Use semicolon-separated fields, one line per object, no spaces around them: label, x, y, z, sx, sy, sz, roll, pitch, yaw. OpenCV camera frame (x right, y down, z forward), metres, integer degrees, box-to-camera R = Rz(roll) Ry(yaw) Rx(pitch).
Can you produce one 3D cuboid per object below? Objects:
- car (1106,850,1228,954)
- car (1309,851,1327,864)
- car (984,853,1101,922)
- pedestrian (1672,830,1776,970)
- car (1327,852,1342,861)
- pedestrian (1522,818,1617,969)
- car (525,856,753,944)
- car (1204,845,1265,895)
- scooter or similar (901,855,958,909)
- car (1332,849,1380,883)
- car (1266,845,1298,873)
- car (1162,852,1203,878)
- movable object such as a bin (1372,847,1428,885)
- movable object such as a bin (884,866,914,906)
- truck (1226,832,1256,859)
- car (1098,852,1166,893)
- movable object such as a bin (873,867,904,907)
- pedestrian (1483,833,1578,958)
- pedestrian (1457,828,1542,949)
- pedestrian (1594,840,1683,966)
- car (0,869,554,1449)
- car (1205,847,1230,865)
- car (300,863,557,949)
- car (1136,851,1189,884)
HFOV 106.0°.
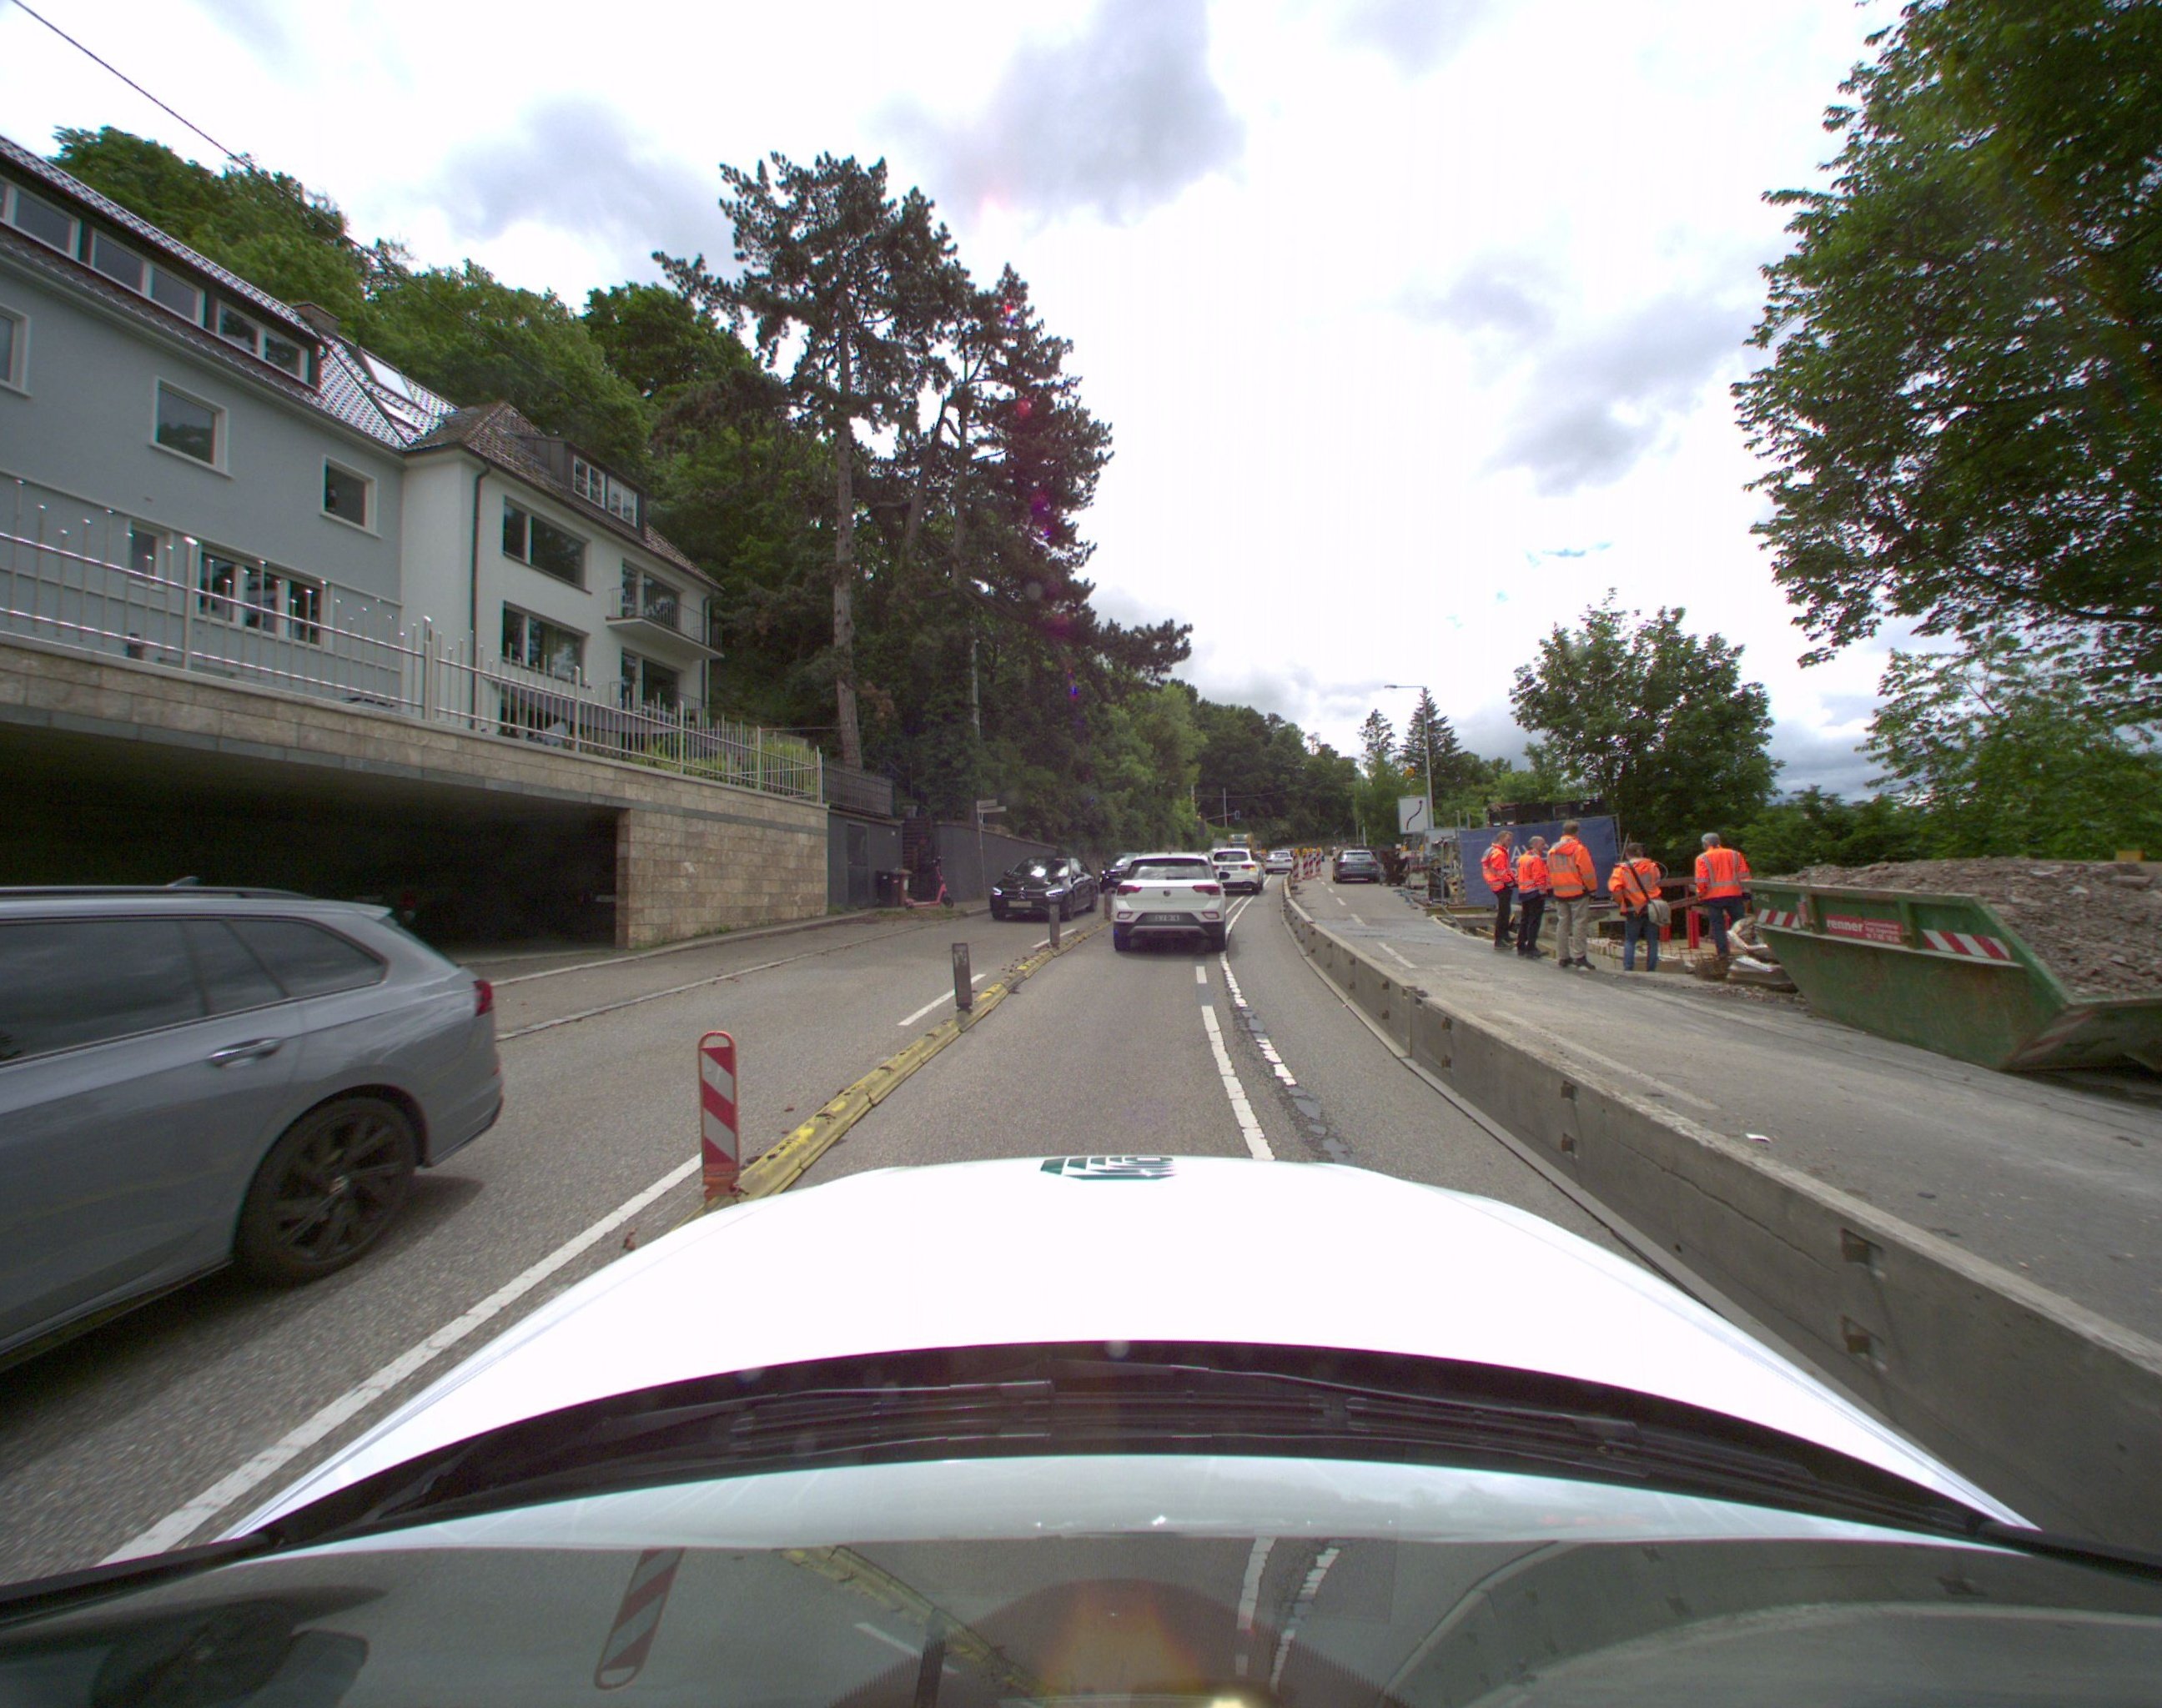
car;1.601;0.719;14.115;1.799;1.531;4.011;-1;0;9
car;26.370;0.426;90.717;1.781;1.368;4.015;-1;0;14
car;-0.783;0.715;19.745;1.755;1.435;4.323;1;0;12
pedestrian;8.118;0.563;10.317;0.776;1.688;0.789;-1;0;17
car;40.743;0.395;130.820;1.778;1.368;4.023;-1;0;25
pedestrian;6.447;0.497;10.780;0.690;1.906;0.822;-1;0;-11
car;-8.204;0.829;15.537;1.770;1.453;3.714;0;-2;12
car;5.600;0.531;29.445;1.796;1.663;4.016;-2;0;15
scooter or similar;-3.606;0.652;19.342;1.309;1.255;0.465;0;0;-13
car;11.972;0.479;35.644;1.781;1.368;4.017;-1;0;16
car;12.797;0.304;51.777;1.796;1.663;4.017;-2;0;16
car;5.985;0.608;47.571;1.754;1.452;4.326;1;0;15
movable object such as a bin;12.352;0.444;31.640;1.390;1.425;1.906;-1;0;-1
movable object such as a bin;-4.649;0.816;20.812;0.544;0.977;0.512;-1;-1;15
truck;19.876;-1.024;100.784;2.882;3.155;7.616;-1;-1;16
car;2.055;0.646;31.280;1.754;1.452;4.326;1;0;15
movable object such as a bin;-4.779;0.815;20.255;0.544;0.977;0.512;-1;-1;15
pedestrian;6.506;0.575;11.829;0.872;1.731;0.879;-1;0;1
pedestrian;6.593;0.524;12.863;0.872;1.822;0.879;-1;0;1
pedestrian;7.344;0.626;10.759;0.776;1.608;0.670;-1;0;17
car;-3.644;0.808;1.939;1.760;1.435;4.313;-1;0;3
car;11.156;0.164;66.381;1.755;1.452;4.325;1;0;14
car;-11.932;0.917;15.237;1.763;1.419;3.548;0;-2;4
car;3.902;0.601;38.332;1.754;1.452;4.326;1;0;15
